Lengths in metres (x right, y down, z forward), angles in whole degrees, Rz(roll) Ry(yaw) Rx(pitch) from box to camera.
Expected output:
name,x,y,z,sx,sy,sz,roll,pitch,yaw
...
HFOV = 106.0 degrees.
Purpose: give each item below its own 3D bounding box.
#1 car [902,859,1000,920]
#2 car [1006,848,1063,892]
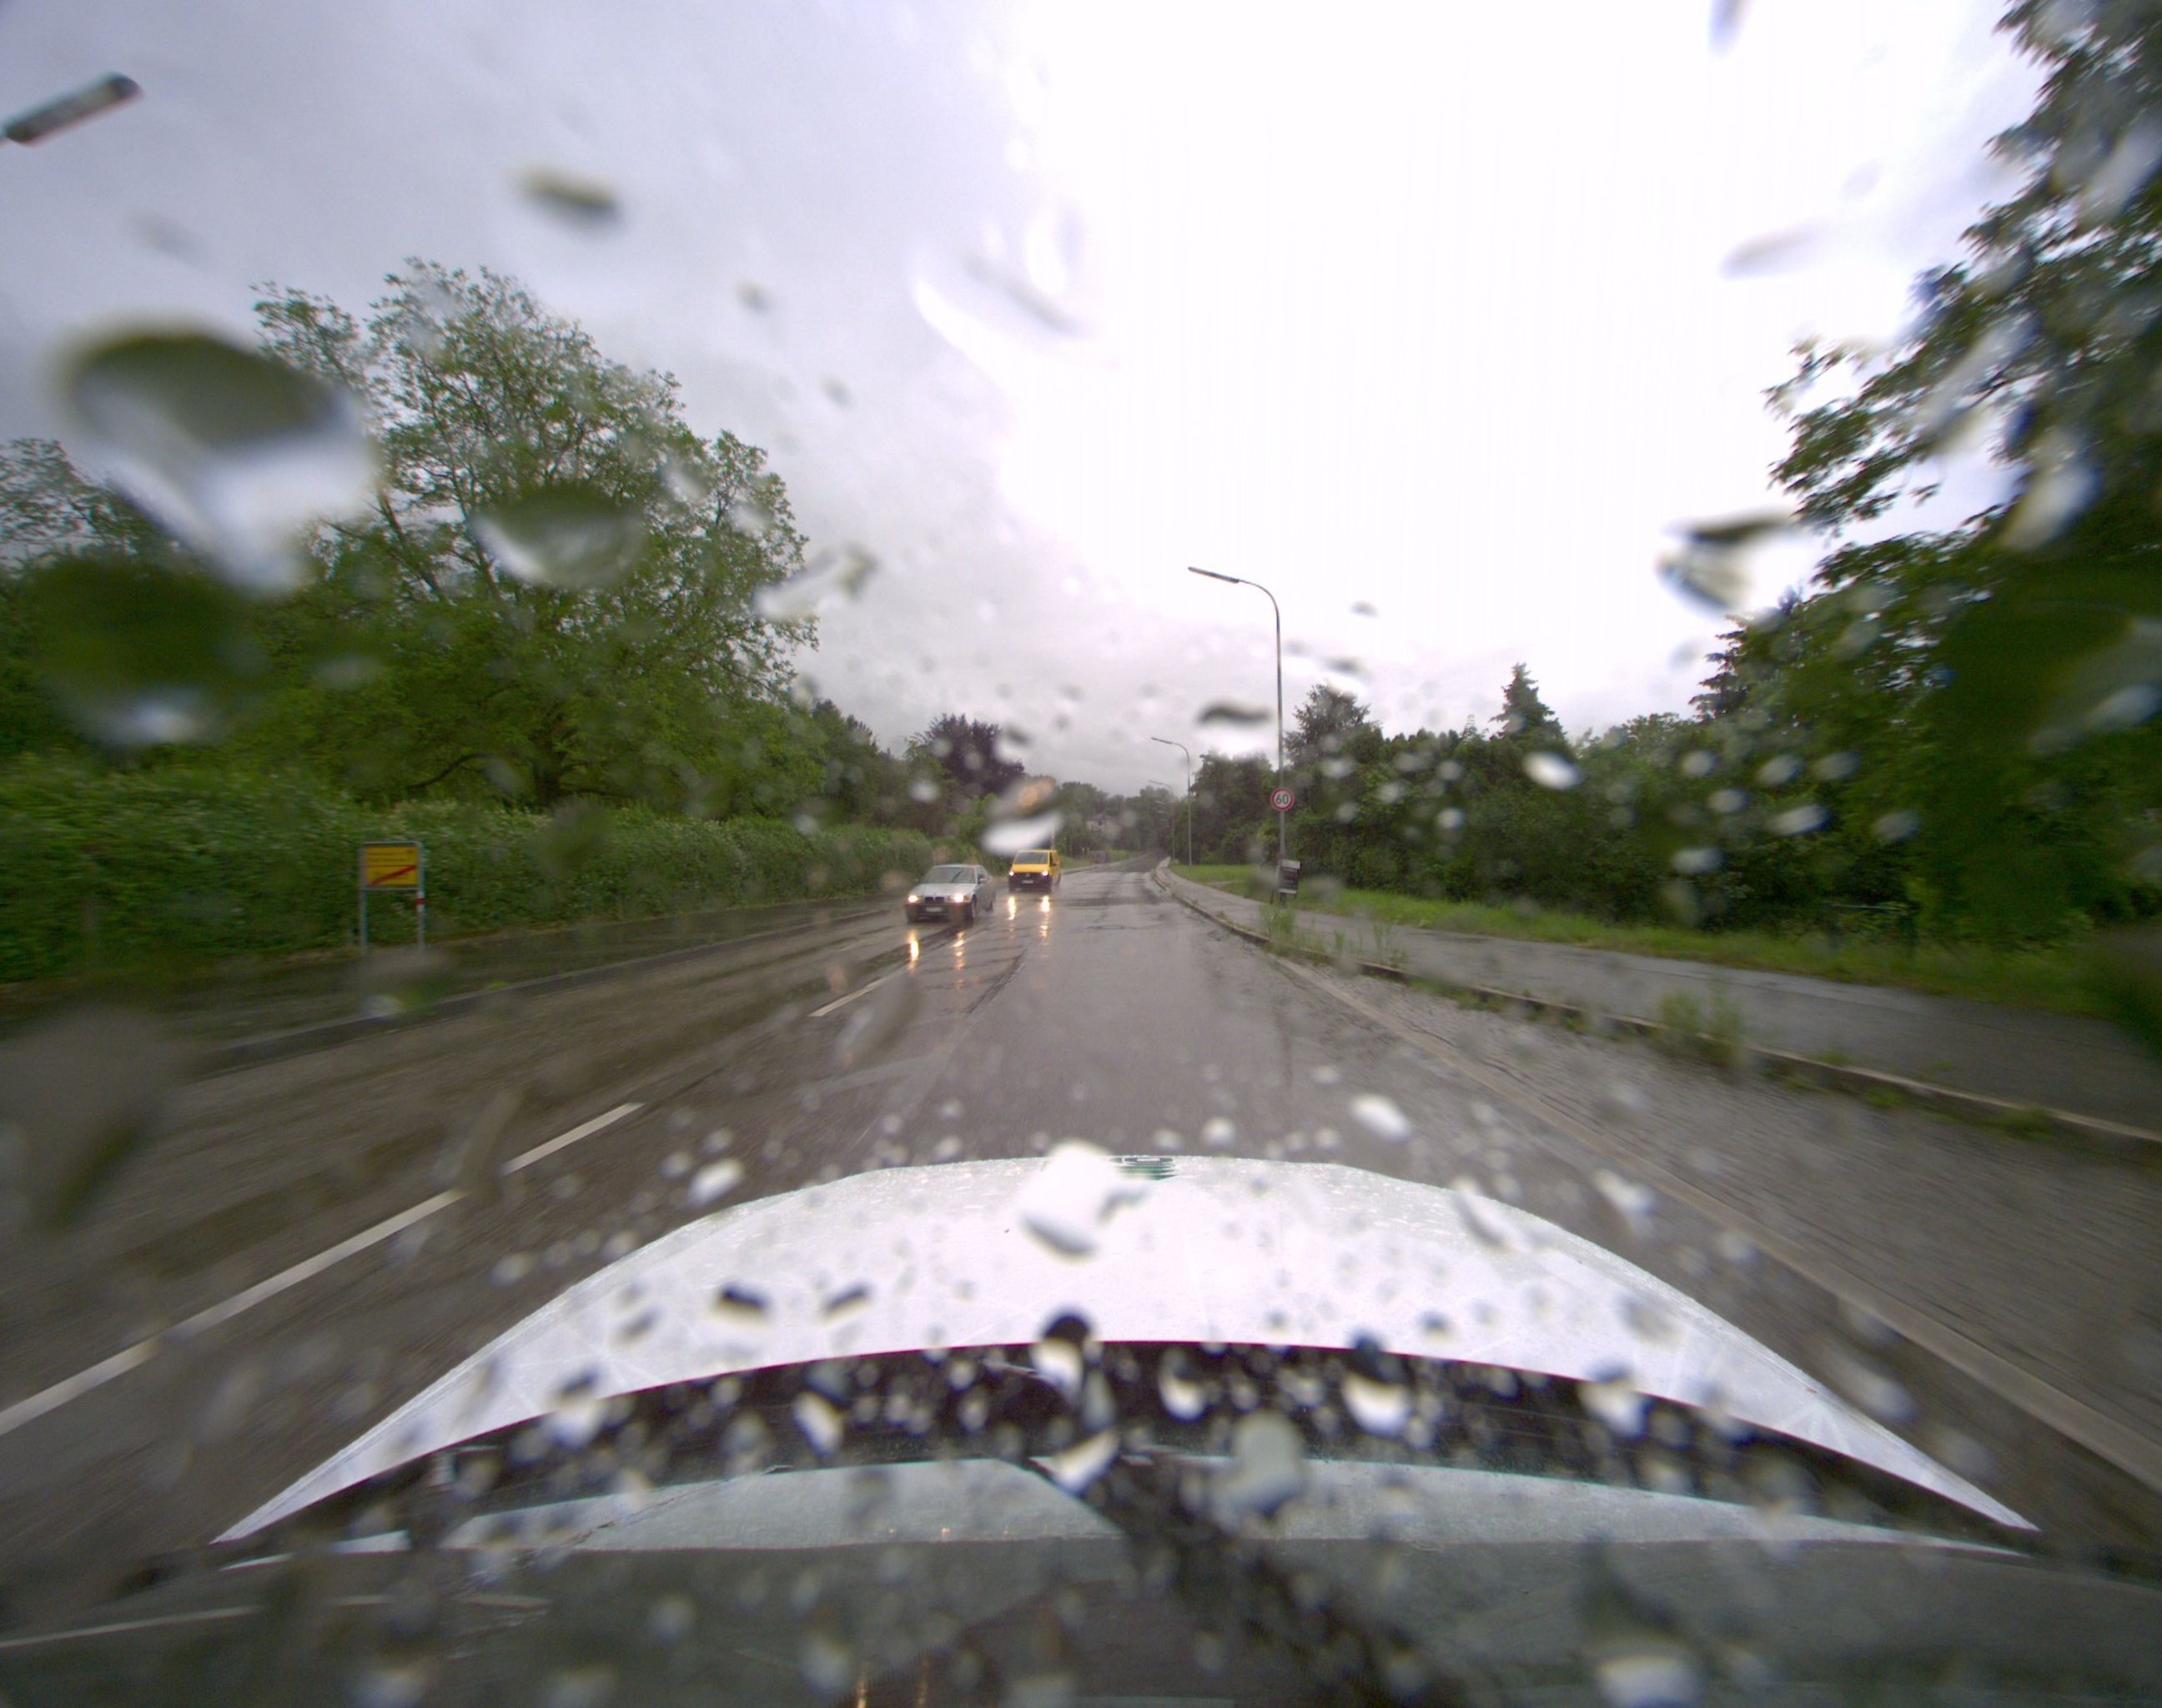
name,x,y,z,sx,sy,sz,roll,pitch,yaw
car,-3.241,0.853,21.021,1.694,1.349,3.908,-2,0,3
car,-2.093,0.707,38.086,1.928,1.871,5.042,-2,0,5
